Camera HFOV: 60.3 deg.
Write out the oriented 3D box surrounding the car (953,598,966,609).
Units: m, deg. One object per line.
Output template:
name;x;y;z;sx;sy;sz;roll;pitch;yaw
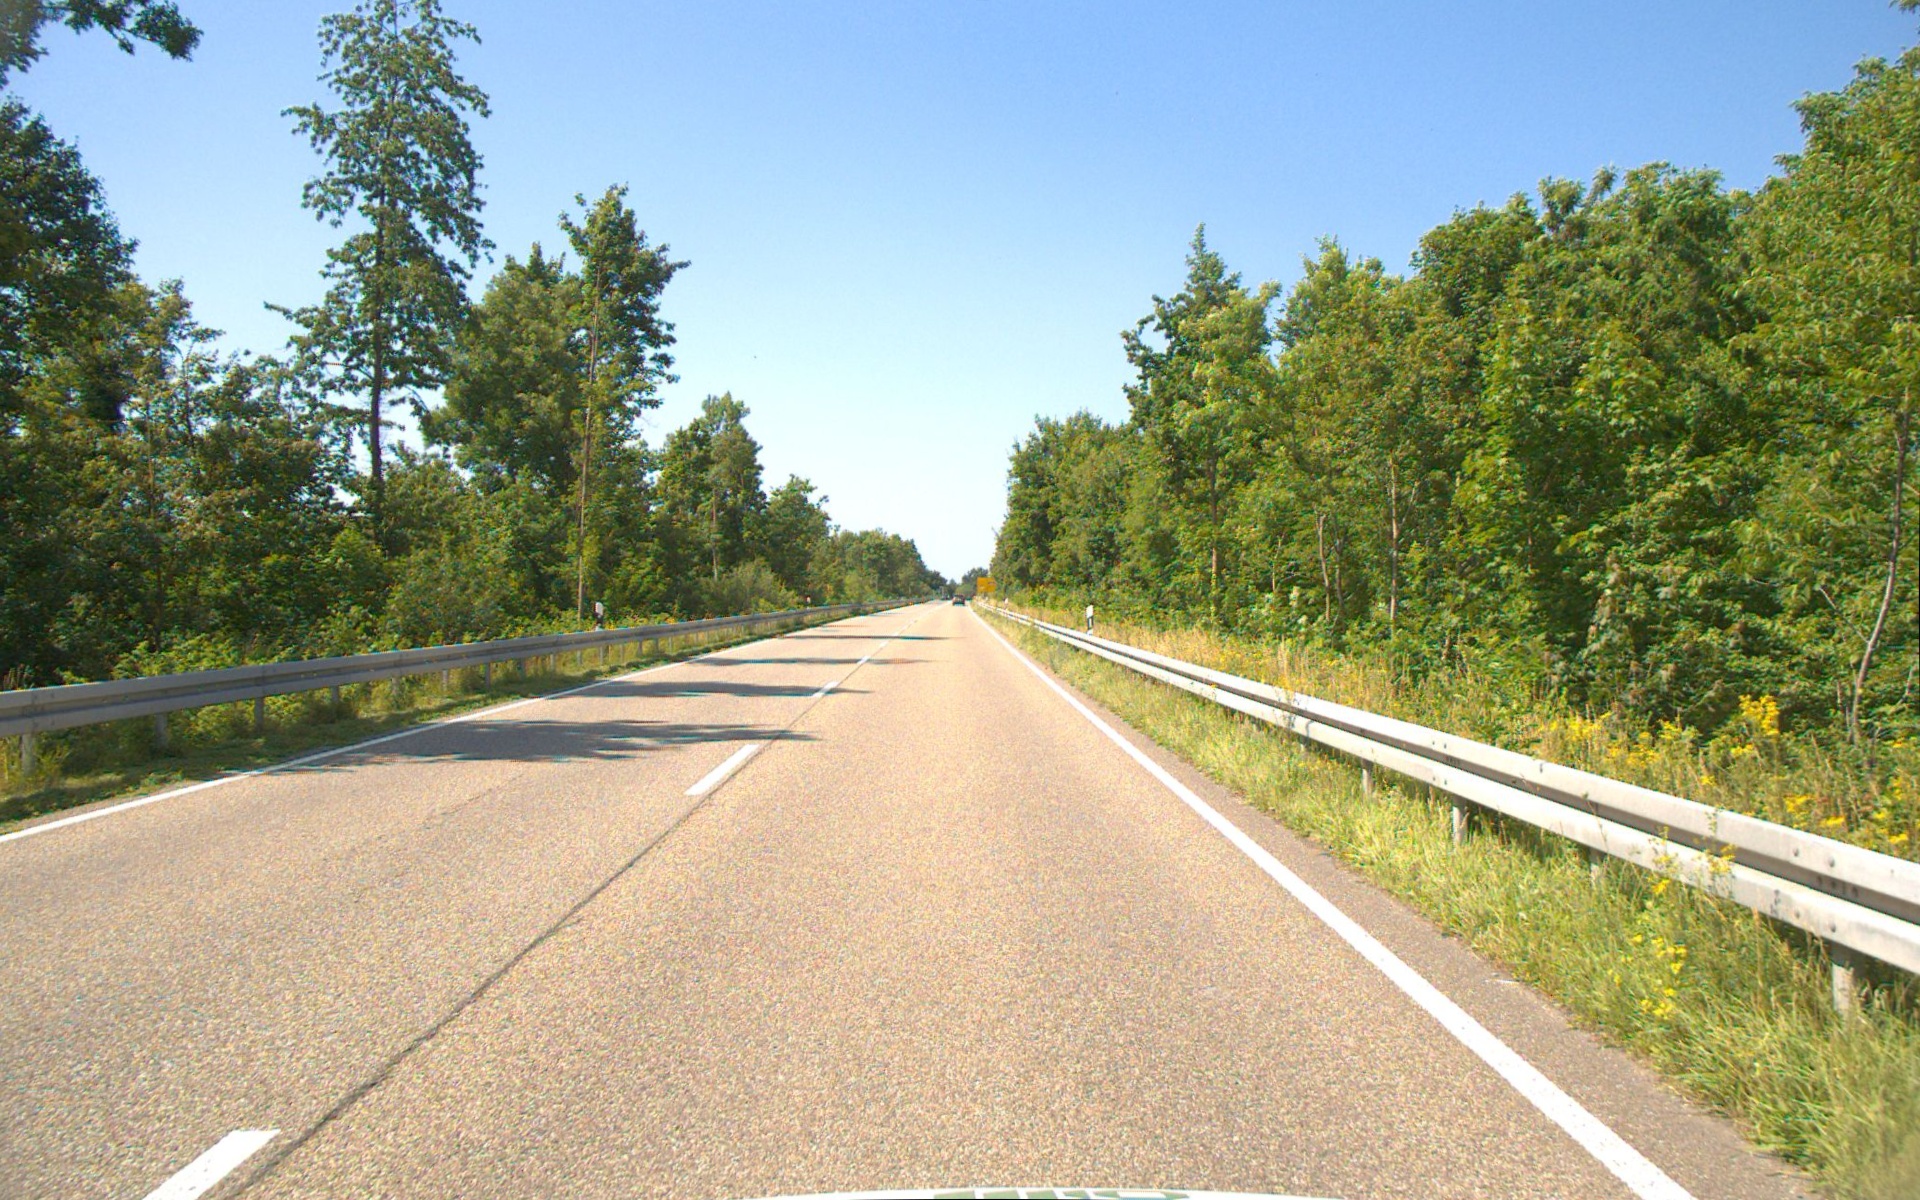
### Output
car;-0.062;0.474;229.816;1.705;1.496;3.693;1;0;1
